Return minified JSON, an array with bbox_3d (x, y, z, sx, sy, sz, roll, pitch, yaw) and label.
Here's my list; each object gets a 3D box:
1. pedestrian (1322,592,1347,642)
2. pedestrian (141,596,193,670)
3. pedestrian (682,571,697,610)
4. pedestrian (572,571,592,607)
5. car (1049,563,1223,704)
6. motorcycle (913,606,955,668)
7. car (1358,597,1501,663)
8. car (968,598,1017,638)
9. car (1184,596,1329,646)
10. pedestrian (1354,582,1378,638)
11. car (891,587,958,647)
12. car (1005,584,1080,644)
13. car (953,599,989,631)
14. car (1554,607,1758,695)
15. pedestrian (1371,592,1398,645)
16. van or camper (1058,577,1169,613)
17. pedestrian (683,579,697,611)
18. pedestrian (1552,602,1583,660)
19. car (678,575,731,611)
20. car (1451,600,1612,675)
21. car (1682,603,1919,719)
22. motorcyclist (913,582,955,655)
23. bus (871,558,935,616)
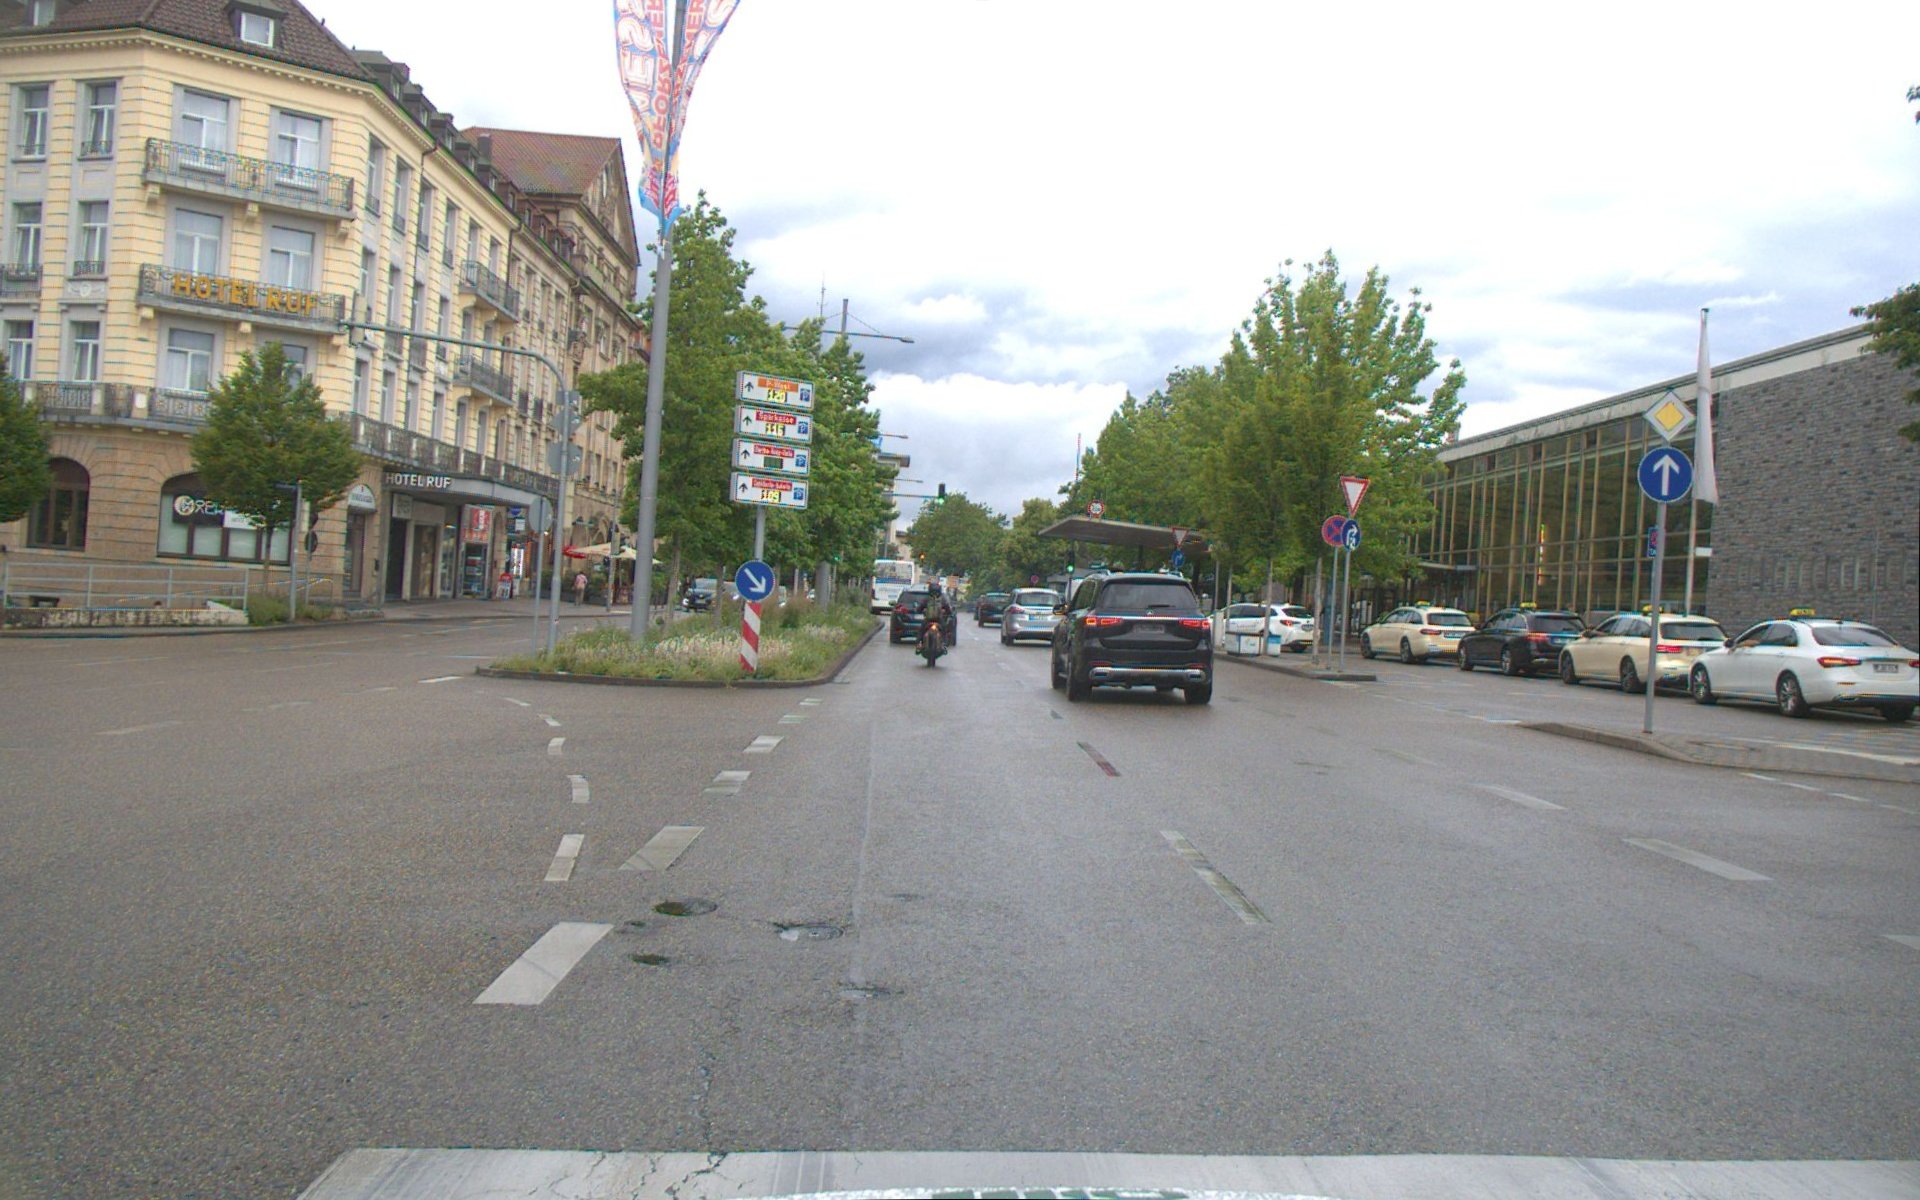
[{"bbox_3d":[15.710,0.715,69.388,0.754,2.049,0.828,1,0,-3],"label":"pedestrian"},{"bbox_3d":[-20.993,0.863,43.789,0.845,1.911,1.022,2,0,-1],"label":"pedestrian"},{"bbox_3d":[-14.667,-0.521,89.730,0.742,2.049,0.832,2,0,-7],"label":"pedestrian"},{"bbox_3d":[-16.567,-0.493,72.531,0.656,1.537,0.512,1,0,-39],"label":"pedestrian"},{"bbox_3d":[2.469,0.427,24.363,1.953,1.837,4.689,1,0,-1],"label":"car"},{"bbox_3d":[-0.487,0.680,31.471,0.750,1.095,2.175,2,0,-1],"label":"motorcycle"},{"bbox_3d":[12.550,0.755,44.564,1.956,1.628,4.815,1,0,-8],"label":"car"},{"bbox_3d":[1.377,0.763,71.663,1.774,1.609,3.901,2,0,-3],"label":"car"},{"bbox_3d":[9.143,0.632,51.246,1.764,1.409,4.303,1,0,-41],"label":"car"},{"bbox_3d":[18.163,0.431,73.938,0.825,2.453,0.862,1,0,1],"label":"pedestrian"},{"bbox_3d":[-0.928,0.419,43.714,1.673,1.473,3.999,1,0,-1],"label":"car"},{"bbox_3d":[2.287,0.365,46.721,1.813,1.594,3.999,1,0,-1],"label":"car"},{"bbox_3d":[0.615,0.830,94.181,1.774,1.671,3.901,2,0,-3],"label":"car"},{"bbox_3d":[13.243,0.922,31.804,1.809,1.477,4.665,1,0,-2],"label":"car"},{"bbox_3d":[16.795,0.717,65.434,0.754,2.049,0.828,1,0,-3],"label":"pedestrian"},{"bbox_3d":[9.593,-0.302,103.160,6.675,2.049,2.364,1,-1,-27],"label":"van or camper"},{"bbox_3d":[-14.645,-0.274,89.671,0.661,1.731,0.633,1,0,-1],"label":"pedestrian"},{"bbox_3d":[18.023,0.916,49.073,0.553,1.675,0.715,1,0,-6],"label":"pedestrian"},{"bbox_3d":[-11.922,-0.327,77.418,1.735,1.557,4.079,2,0,1],"label":"car"},{"bbox_3d":[13.050,0.803,38.087,1.875,1.551,4.740,1,0,-3],"label":"car"},{"bbox_3d":[13.371,0.891,26.150,1.739,1.617,4.614,1,0,-2],"label":"car"},{"bbox_3d":[-0.495,0.341,31.548,0.749,1.354,0.866,2,0,-1],"label":"motorcyclist"},{"bbox_3d":[-3.710,-0.802,104.120,3.685,3.265,15.517,1,0,-3],"label":"bus"}]
